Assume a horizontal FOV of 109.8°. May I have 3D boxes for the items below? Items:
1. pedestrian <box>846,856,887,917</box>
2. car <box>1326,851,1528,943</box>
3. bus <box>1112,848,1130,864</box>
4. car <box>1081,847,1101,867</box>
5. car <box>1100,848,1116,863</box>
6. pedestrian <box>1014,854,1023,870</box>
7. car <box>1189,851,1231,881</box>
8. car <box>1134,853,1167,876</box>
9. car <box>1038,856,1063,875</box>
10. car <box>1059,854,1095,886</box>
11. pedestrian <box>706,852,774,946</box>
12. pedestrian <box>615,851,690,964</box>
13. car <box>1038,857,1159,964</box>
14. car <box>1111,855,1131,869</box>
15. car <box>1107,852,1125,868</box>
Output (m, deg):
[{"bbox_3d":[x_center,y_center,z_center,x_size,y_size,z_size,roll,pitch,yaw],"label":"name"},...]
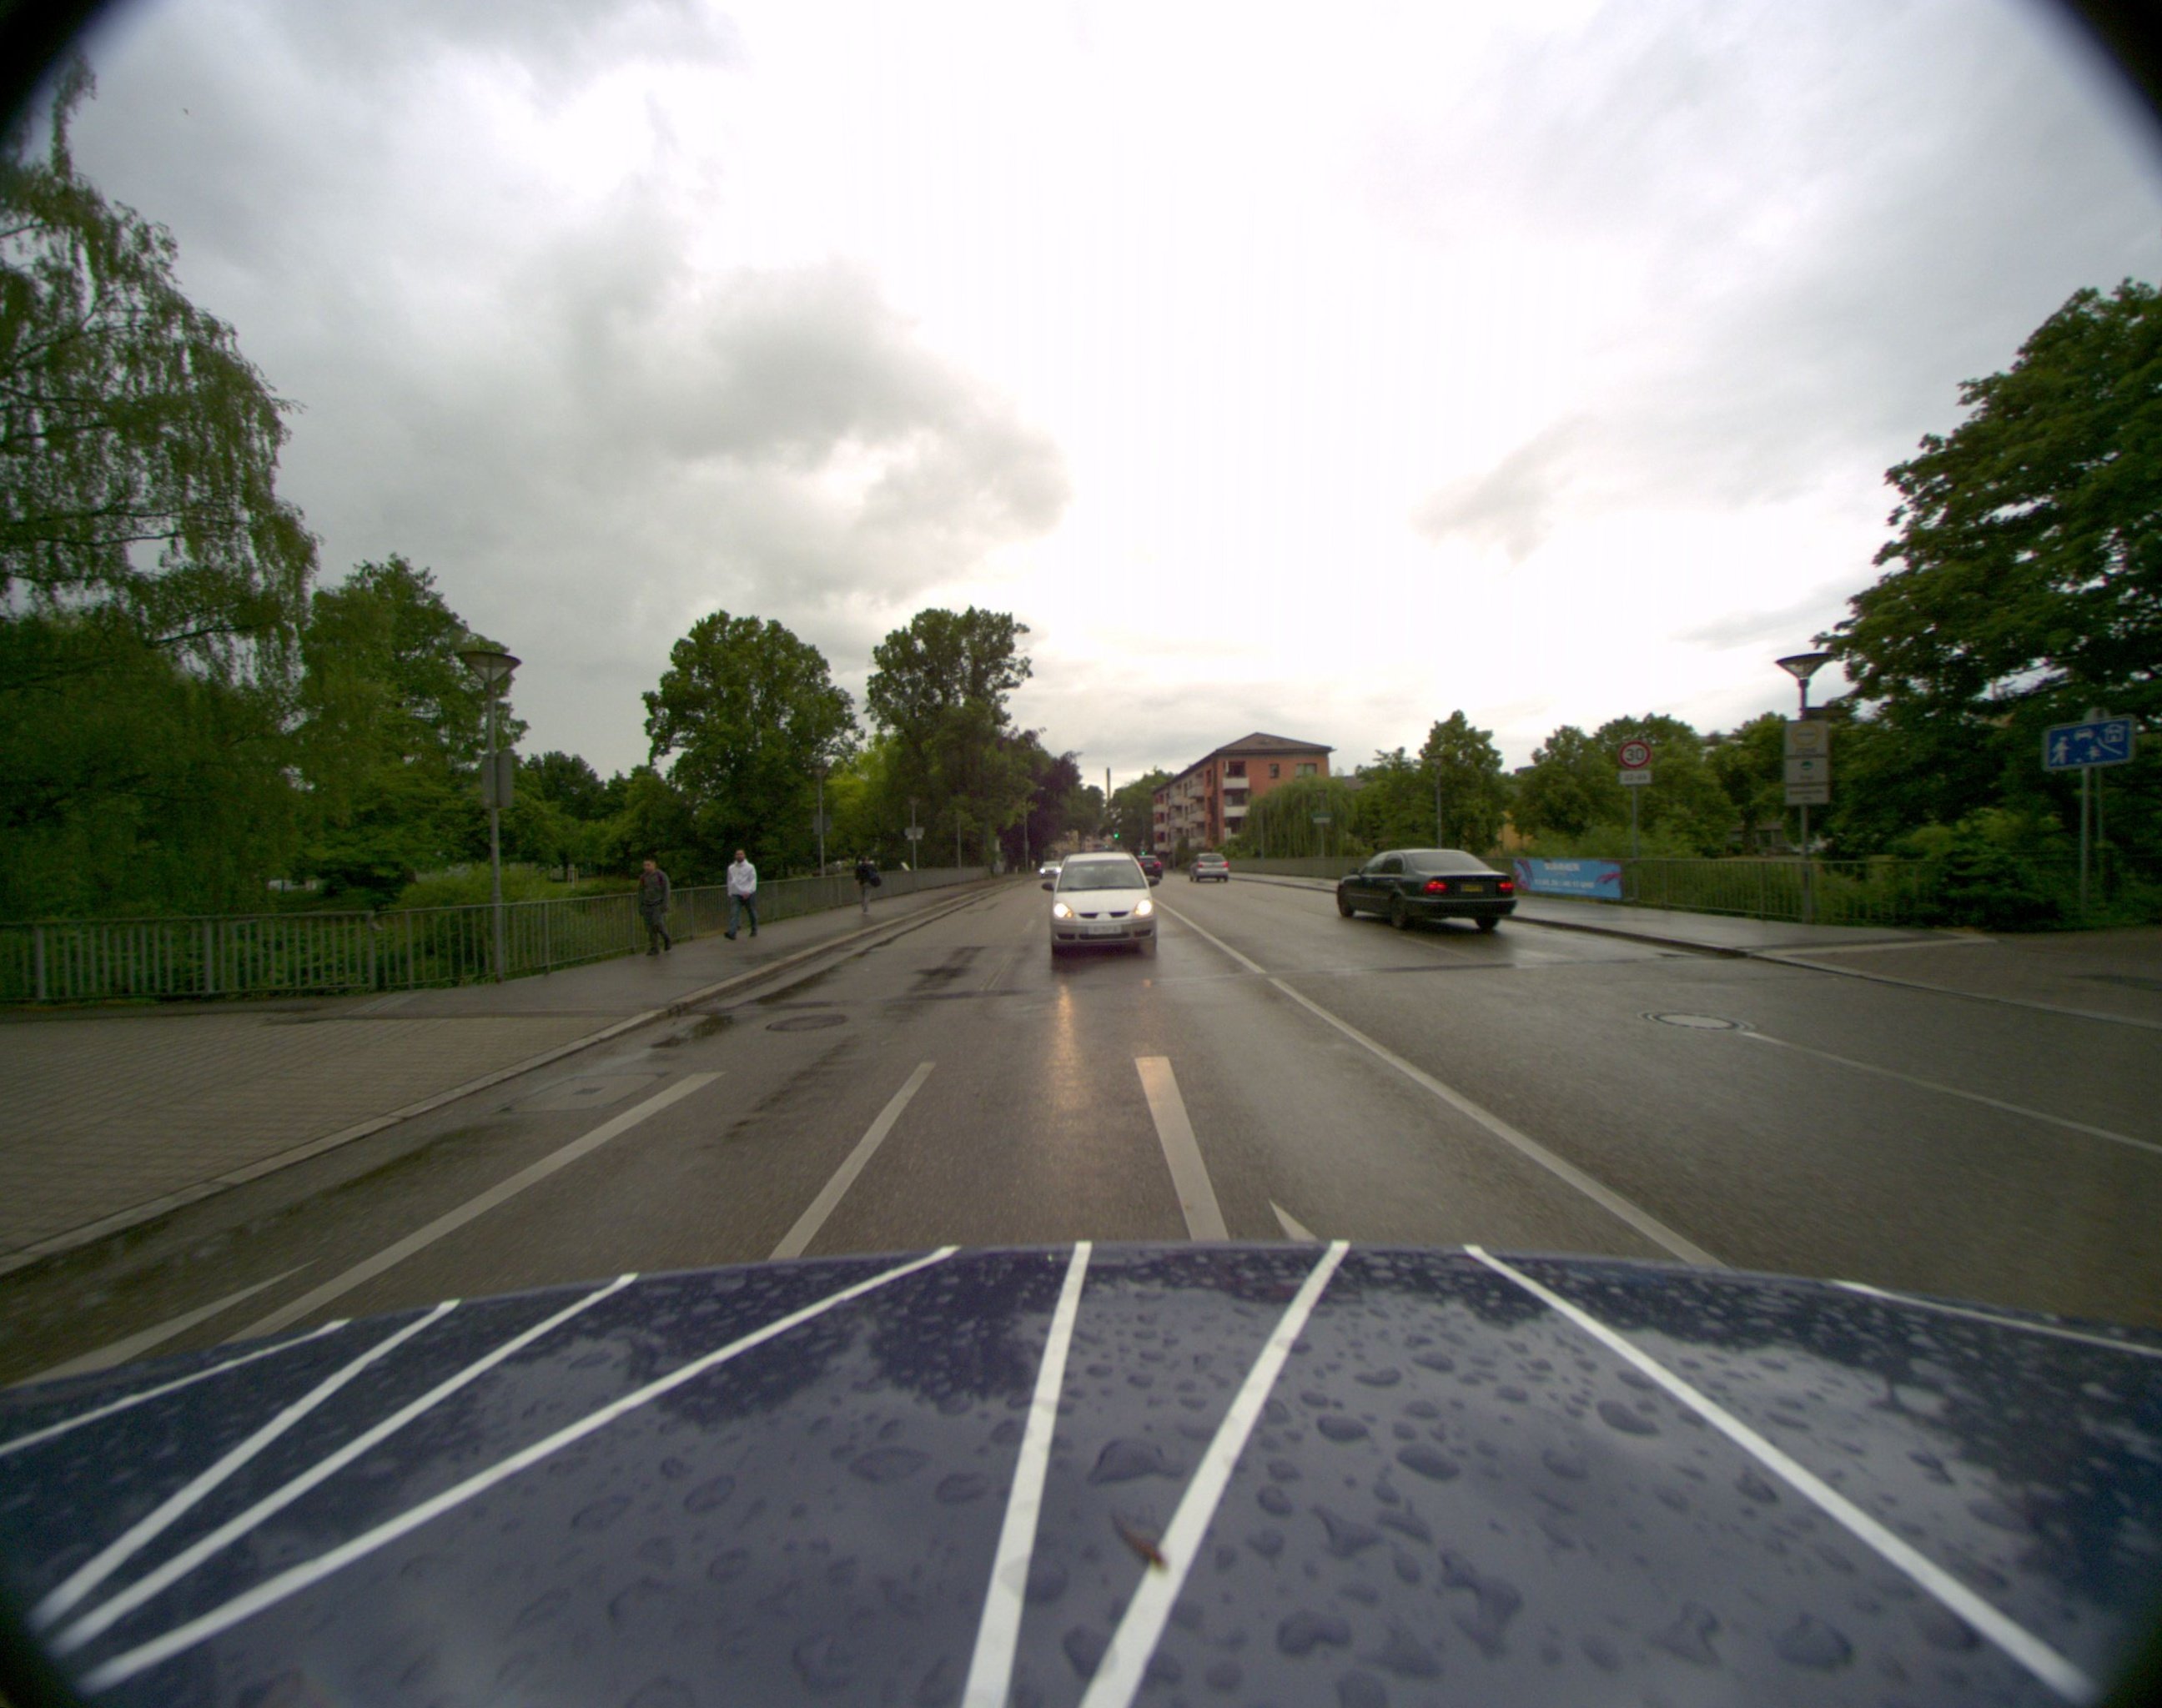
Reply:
[{"bbox_3d":[-5.836,0.874,20.718,0.865,1.610,0.839,-1,1,0],"label":"pedestrian"},{"bbox_3d":[6.394,0.693,14.678,1.733,1.451,4.426,-1,1,-3],"label":"car"},{"bbox_3d":[7.702,0.301,147.450,2.700,2.923,12.083,-1,0,0],"label":"bus"},{"bbox_3d":[1.085,0.290,82.132,2.037,2.119,4.000,-2,1,1],"label":"car"},{"bbox_3d":[4.226,0.318,121.343,2.295,2.295,6.509,-1,-1,0],"label":"car"},{"bbox_3d":[-6.622,0.867,80.432,0.850,1.666,1.167,0,1,0],"label":"pedestrian"},{"bbox_3d":[6.683,0.602,39.687,1.630,1.411,3.685,-1,1,1],"label":"car"},{"bbox_3d":[4.335,0.638,47.637,1.714,1.408,4.093,0,0,0],"label":"car"},{"bbox_3d":[-2.592,0.987,65.538,1.906,1.537,4.000,-2,1,1],"label":"car"},{"bbox_3d":[-0.204,0.777,39.064,1.718,1.508,4.088,-2,0,0],"label":"car"},{"bbox_3d":[-6.576,0.838,14.717,0.781,1.742,1.060,-2,1,0],"label":"pedestrian"},{"bbox_3d":[-7.022,0.850,12.492,0.763,1.798,0.781,-1,0,0],"label":"pedestrian"},{"bbox_3d":[0.256,0.845,13.567,1.718,1.508,4.807,-2,0,0],"label":"car"},{"bbox_3d":[3.922,0.778,74.565,1.786,1.394,4.219,-1,0,0],"label":"car"},{"bbox_3d":[3.890,0.625,85.256,1.893,1.724,4.371,-1,0,0],"label":"car"}]
